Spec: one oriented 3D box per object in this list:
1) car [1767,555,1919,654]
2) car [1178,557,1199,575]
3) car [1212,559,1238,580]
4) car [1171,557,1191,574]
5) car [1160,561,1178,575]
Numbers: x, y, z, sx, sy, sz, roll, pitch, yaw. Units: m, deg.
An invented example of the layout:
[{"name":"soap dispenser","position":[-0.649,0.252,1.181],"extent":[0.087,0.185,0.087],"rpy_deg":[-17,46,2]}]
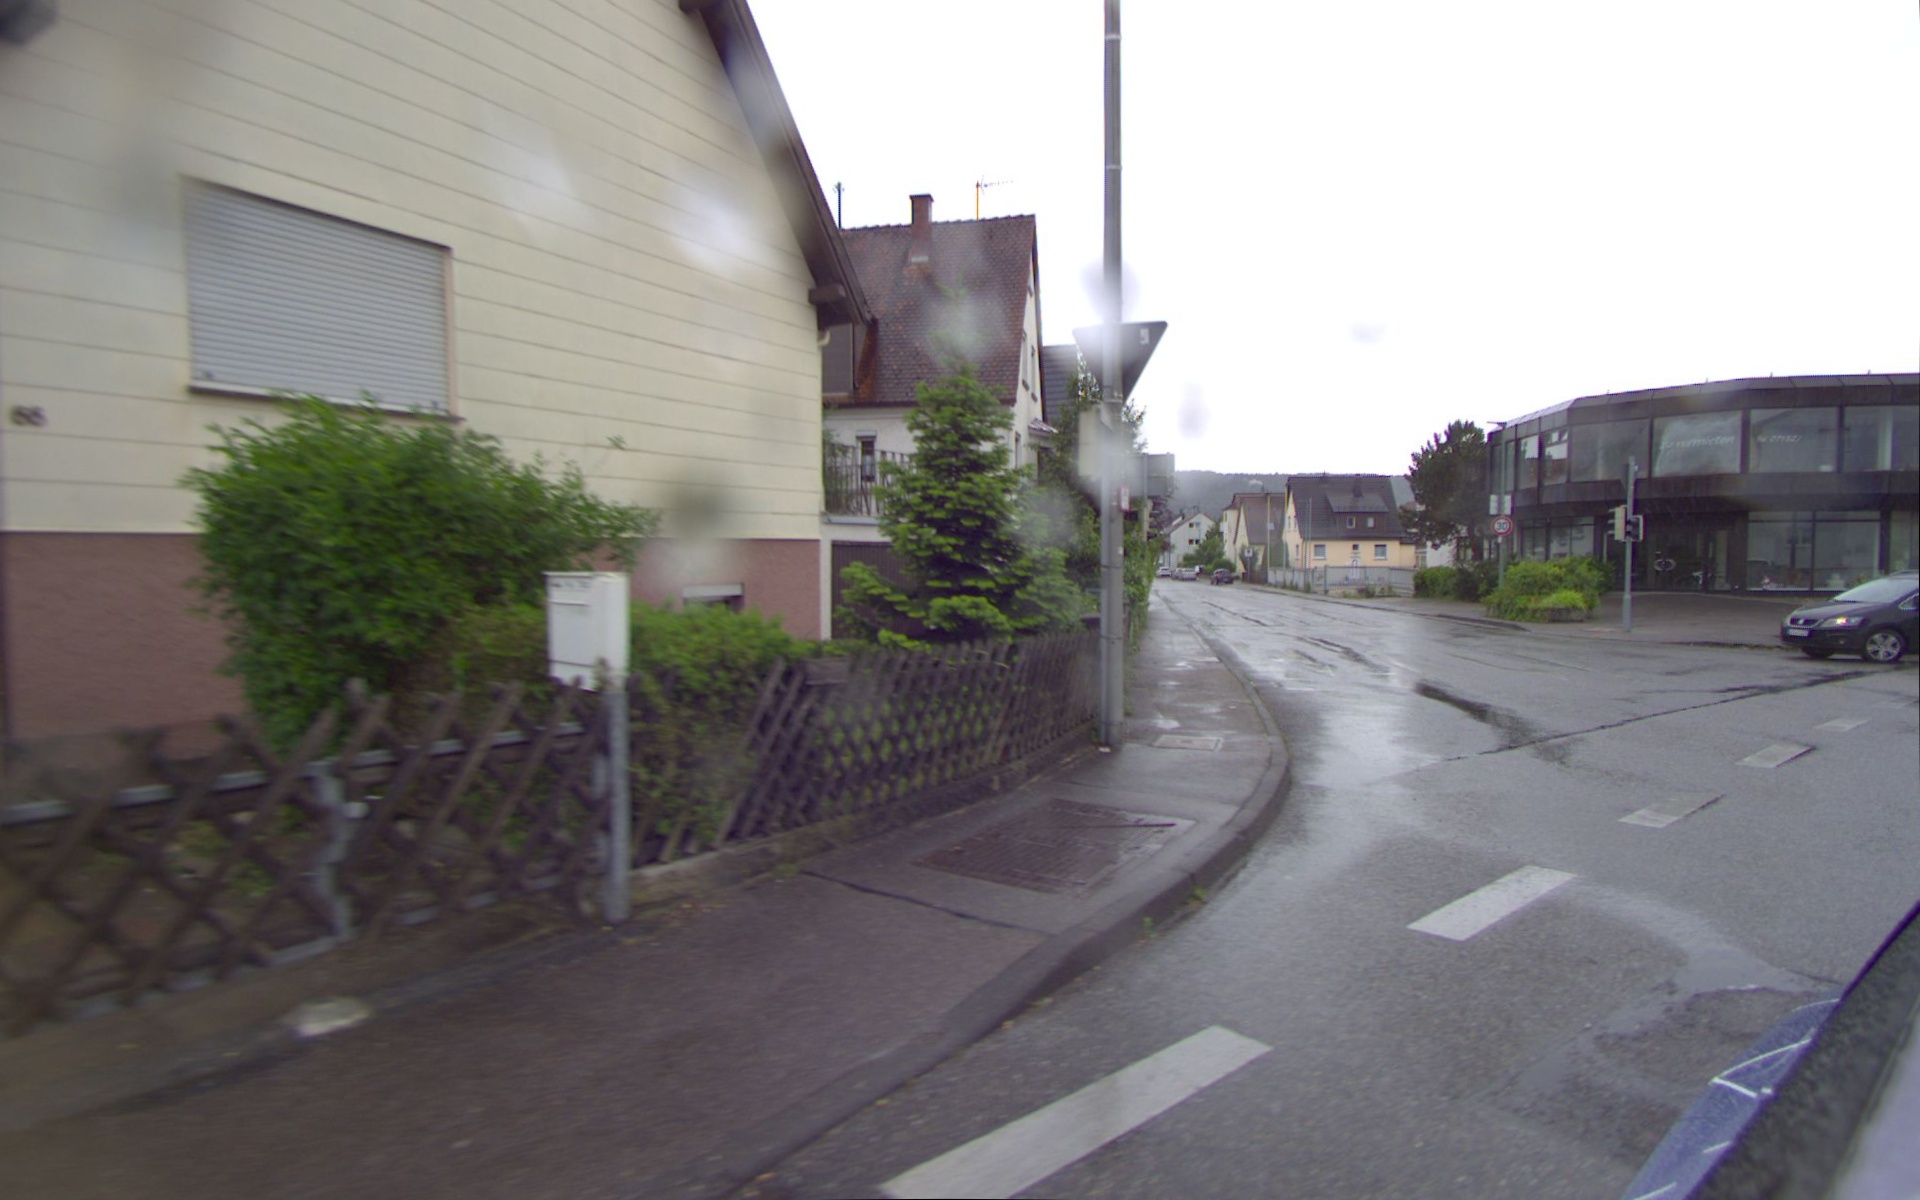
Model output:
[{"name":"car","position":[18.290,0.060,18.919],"extent":[4.570,1.771,1.996],"rpy_deg":[0,2,8]},{"name":"car","position":[27.338,-4.088,121.010],"extent":[1.965,2.038,3.995],"rpy_deg":[1,2,6]},{"name":"car","position":[26.176,-3.048,100.015],"extent":[1.966,2.038,3.993],"rpy_deg":[1,2,7]},{"name":"car","position":[27.849,-4.344,127.382],"extent":[1.965,2.038,3.995],"rpy_deg":[1,2,6]},{"name":"car","position":[29.581,-4.537,143.222],"extent":[1.965,2.038,3.995],"rpy_deg":[1,2,6]}]
